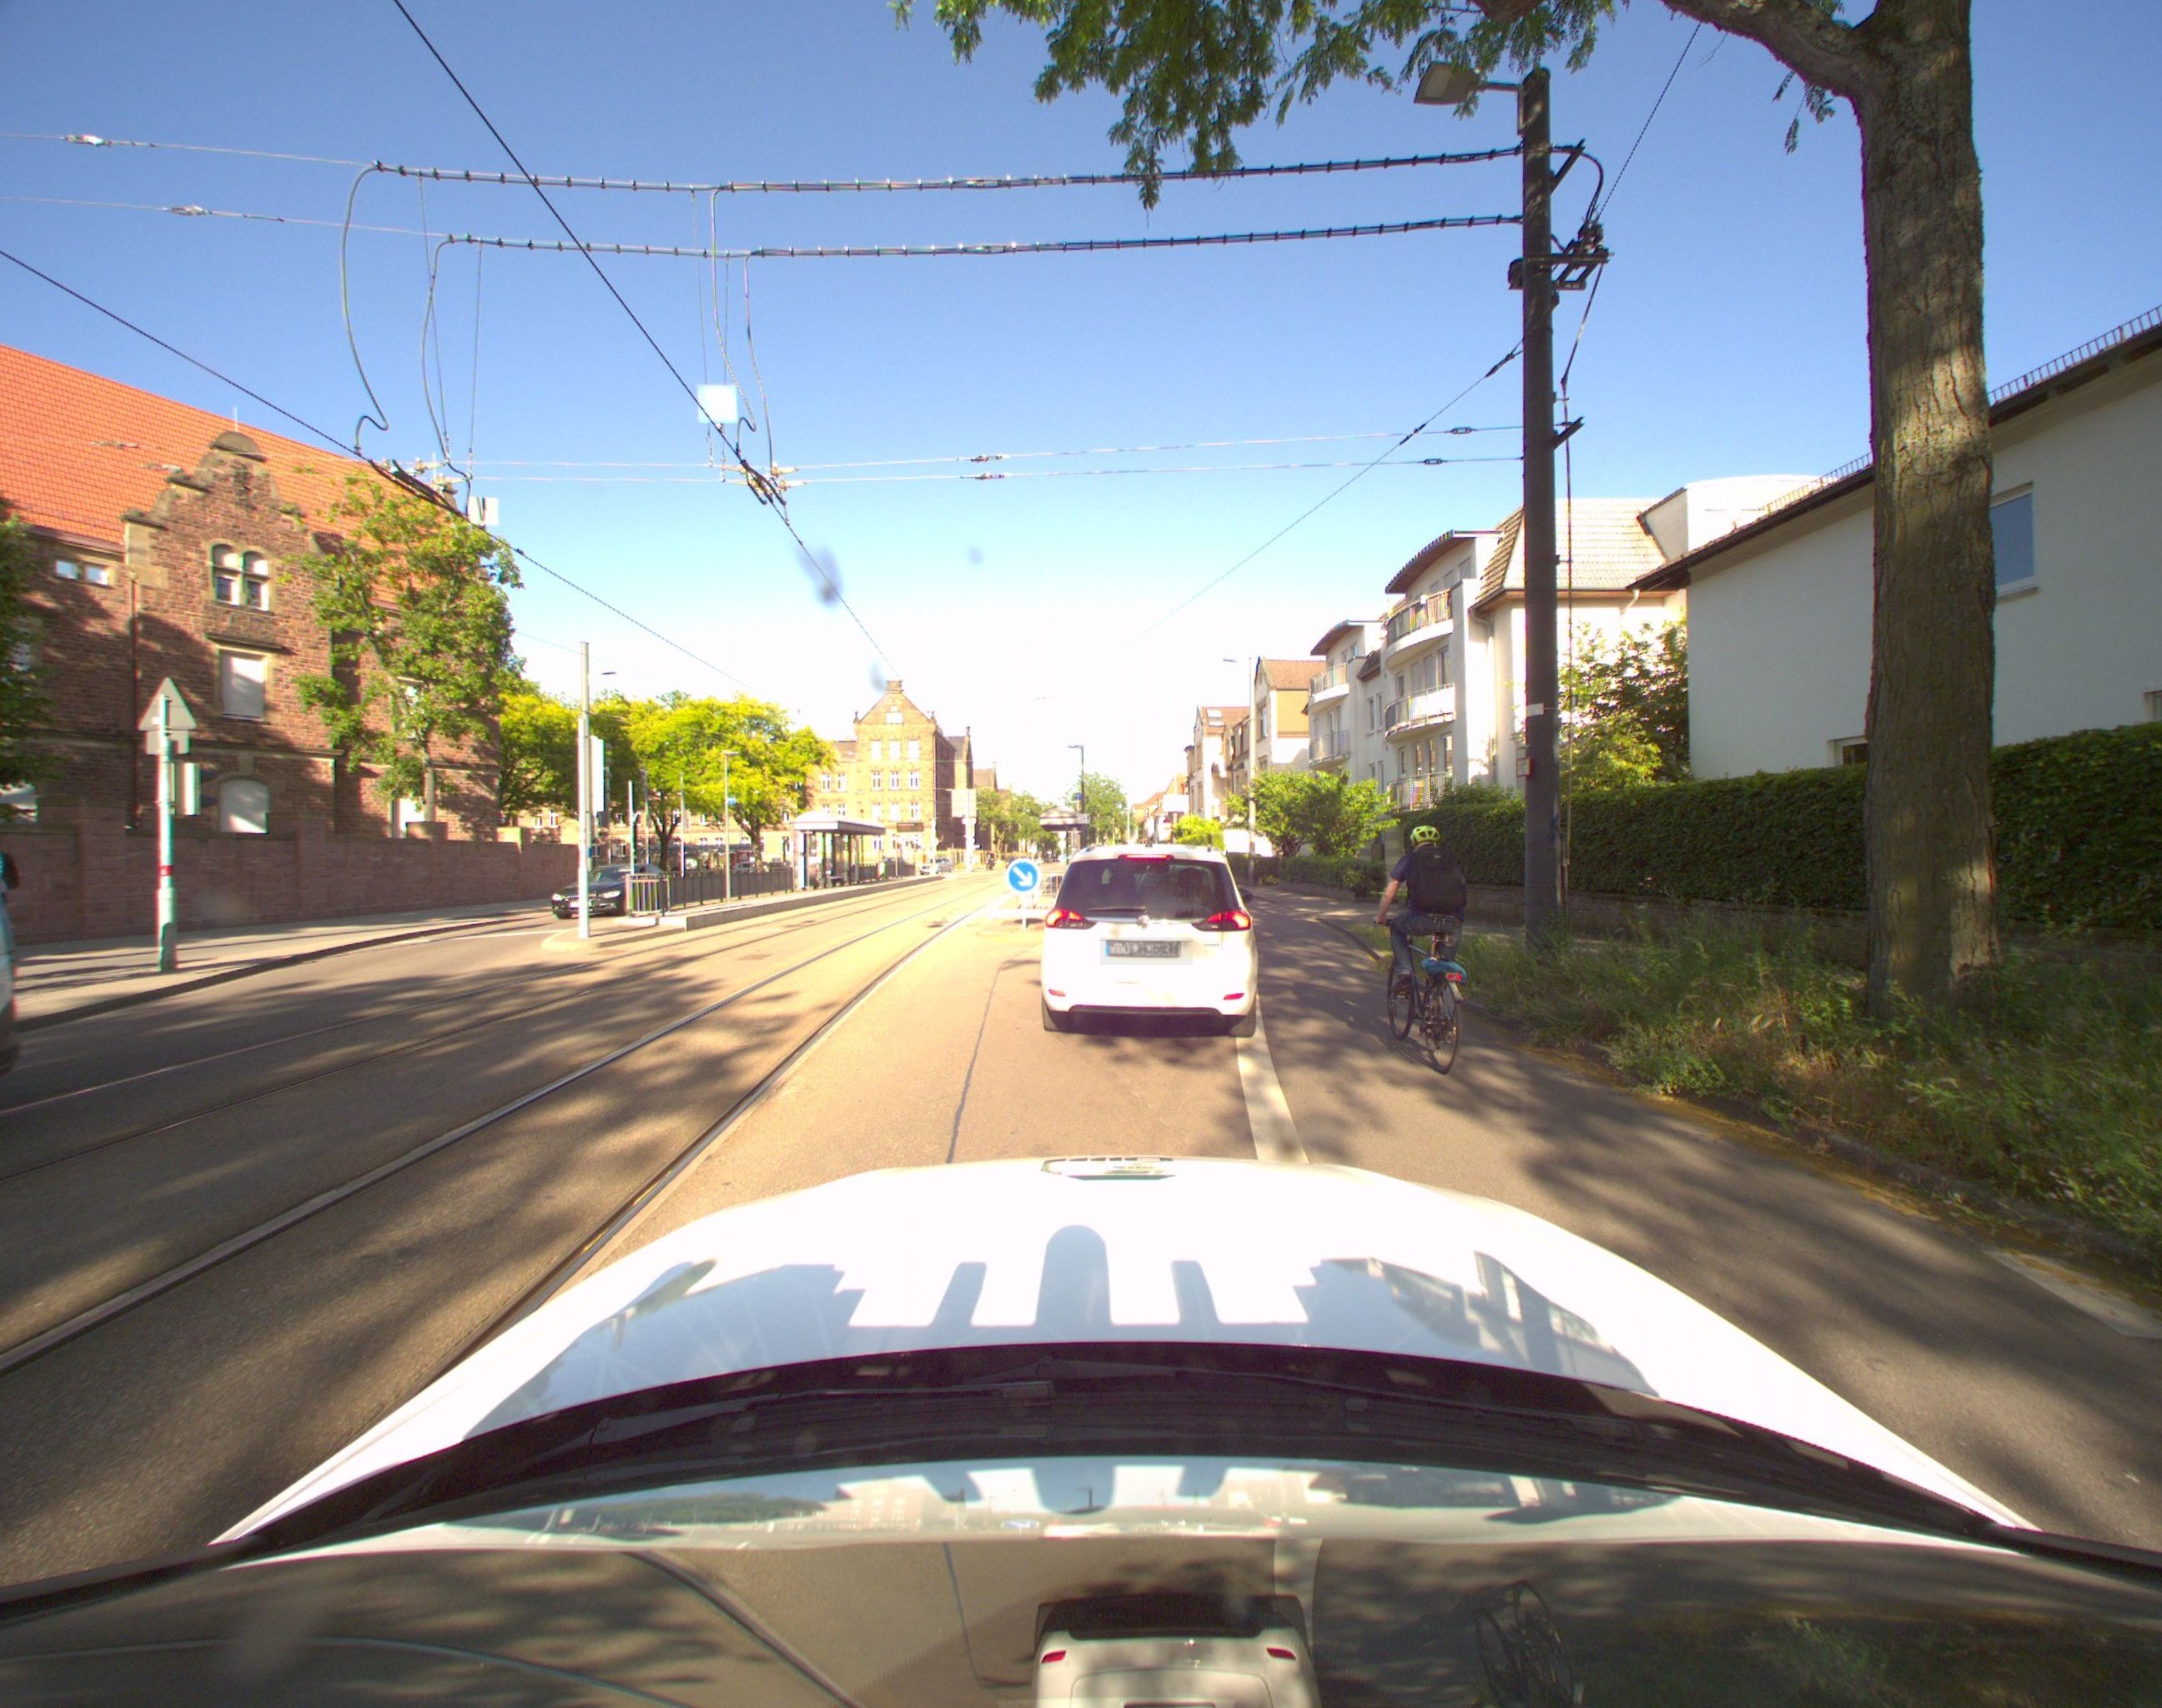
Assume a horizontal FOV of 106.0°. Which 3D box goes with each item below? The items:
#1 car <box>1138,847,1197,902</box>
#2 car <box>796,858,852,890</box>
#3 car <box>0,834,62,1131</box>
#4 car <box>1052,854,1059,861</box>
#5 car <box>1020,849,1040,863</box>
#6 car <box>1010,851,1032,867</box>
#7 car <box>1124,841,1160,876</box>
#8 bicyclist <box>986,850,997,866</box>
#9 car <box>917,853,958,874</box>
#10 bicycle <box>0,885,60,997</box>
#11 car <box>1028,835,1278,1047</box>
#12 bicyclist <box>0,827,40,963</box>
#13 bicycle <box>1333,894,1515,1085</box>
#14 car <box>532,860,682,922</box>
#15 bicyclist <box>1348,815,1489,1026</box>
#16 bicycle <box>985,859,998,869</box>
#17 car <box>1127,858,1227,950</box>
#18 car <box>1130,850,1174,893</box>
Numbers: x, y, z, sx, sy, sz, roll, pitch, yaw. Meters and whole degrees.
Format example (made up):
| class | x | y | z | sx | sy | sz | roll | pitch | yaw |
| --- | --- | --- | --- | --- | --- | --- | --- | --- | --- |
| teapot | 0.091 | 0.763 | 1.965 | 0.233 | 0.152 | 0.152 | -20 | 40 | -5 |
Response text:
| class | x | y | z | sx | sy | sz | roll | pitch | yaw |
| --- | --- | --- | --- | --- | --- | --- | --- | --- | --- |
| car | 2.664 | 0.603 | 25.854 | 1.563 | 1.614 | 3.785 | 1 | 0 | 2 |
| car | -13.896 | 1.080 | 44.265 | 1.822 | 1.617 | 4.323 | -1 | -1 | -3 |
| car | -6.884 | 0.770 | 3.004 | 1.832 | 1.788 | 4.229 | -1 | -1 | -18 |
| car | -7.245 | 0.929 | 231.831 | 1.989 | 2.014 | 3.994 | 0 | -1 | -4 |
| car | -7.360 | 0.336 | 117.821 | 1.982 | 2.014 | 4.009 | -1 | -1 | 8 |
| car | -7.530 | 0.645 | 102.948 | 1.982 | 2.014 | 4.009 | -1 | -1 | 8 |
| car | 2.971 | 0.209 | 40.258 | 1.590 | 1.635 | 3.903 | 1 | 0 | 2 |
| bicyclist | -9.516 | 0.414 | 86.432 | 0.720 | 1.688 | 1.174 | 0 | 0 | 14 |
| car | -12.619 | 0.827 | 71.976 | 1.813 | 1.788 | 4.345 | -1 | -1 | 16 |
| bicycle | -12.525 | 1.001 | 8.985 | 0.781 | 1.231 | 2.070 | -1 | 0 | -27 |
| car | 0.793 | 0.666 | 8.200 | 1.868 | 1.585 | 4.008 | -1 | 0 | 7 |
| bicyclist | -12.540 | 0.471 | 8.997 | 0.765 | 1.536 | 1.336 | -1 | 0 | -27 |
| bicycle | 2.556 | 0.939 | 6.319 | 0.640 | 1.143 | 1.902 | -1 | 0 | 2 |
| car | -13.067 | 0.945 | 22.829 | 1.795 | 1.382 | 4.487 | -3 | 1 | -5 |
| bicyclist | 2.564 | 0.472 | 6.302 | 0.641 | 1.488 | 1.115 | 0 | -1 | 2 |
| bicycle | -9.506 | 1.075 | 86.436 | 0.720 | 0.965 | 2.068 | 0 | 1 | 14 |
| car | 1.774 | 0.801 | 14.879 | 1.560 | 1.401 | 3.792 | 1 | 0 | 7 |
| car | 2.893 | 0.681 | 33.760 | 1.590 | 1.635 | 3.903 | 1 | 0 | 2 |
